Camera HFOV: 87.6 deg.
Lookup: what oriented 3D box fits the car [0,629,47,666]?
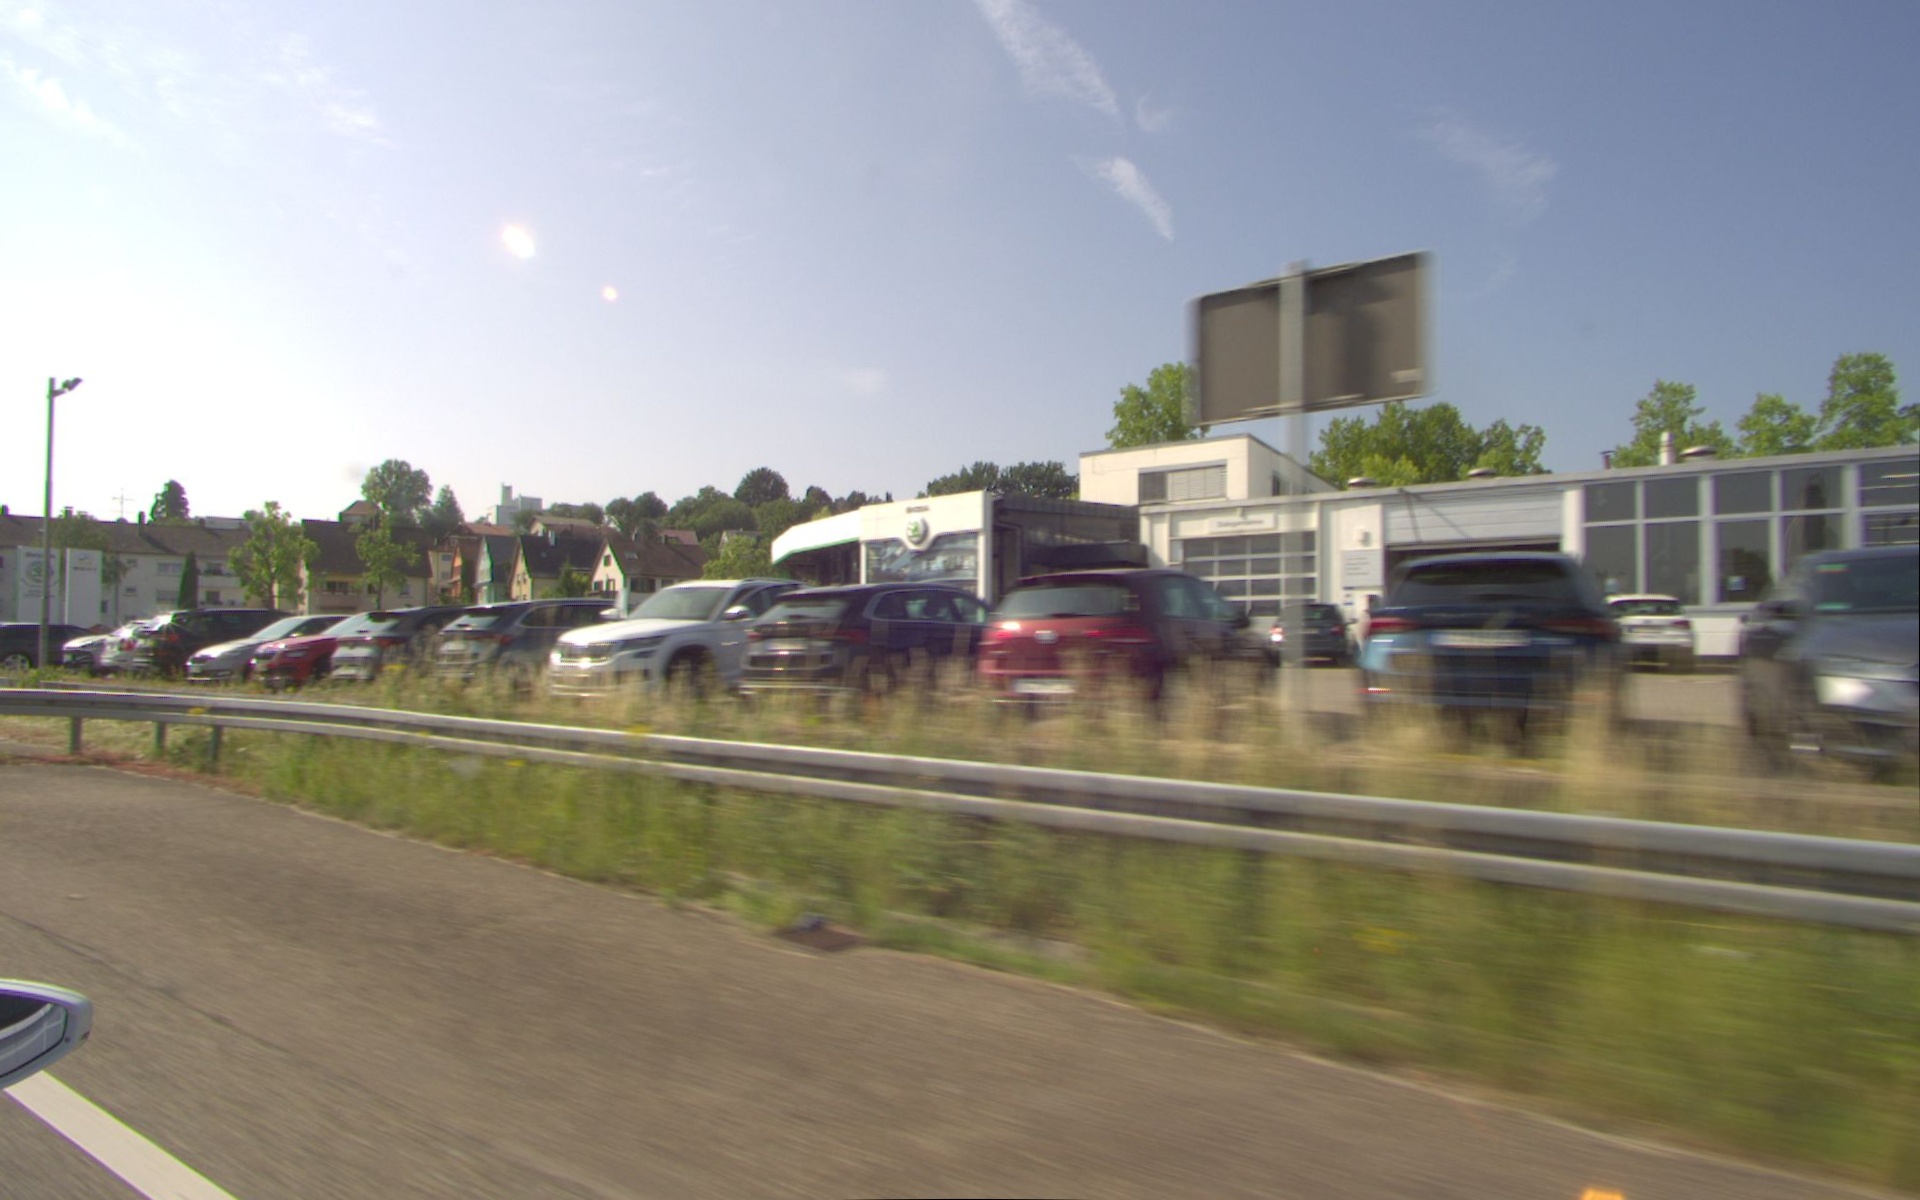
[{"bbox_3d":[-40.319,1.959,40.944,1.797,1.535,4.090,-1,-2,28],"label":"car"}]

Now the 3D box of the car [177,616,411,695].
[{"bbox_3d":[-13.724,1.085,20.840,1.642,1.477,3.723,-2,-1,33],"label":"car"}]

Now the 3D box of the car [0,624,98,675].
[{"bbox_3d":[-31.022,1.601,32.646,1.764,1.630,4.076,-1,-2,27],"label":"car"}]

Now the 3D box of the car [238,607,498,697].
[{"bbox_3d":[-11.494,0.947,19.706,1.757,1.572,4.073,-2,-1,33],"label":"car"}]

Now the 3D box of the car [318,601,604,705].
[{"bbox_3d":[-7.967,0.815,16.292,1.722,1.477,3.829,-2,-2,34],"label":"car"}]

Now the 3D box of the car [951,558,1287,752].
[{"bbox_3d":[1.676,0.469,9.421,1.797,1.424,3.724,-2,-2,32],"label":"car"}]

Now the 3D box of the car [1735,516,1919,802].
[{"bbox_3d":[6.496,0.328,6.495,1.923,1.470,3.979,-2,-2,32],"label":"car"}]

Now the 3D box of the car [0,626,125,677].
[{"bbox_3d":[-28.978,1.585,31.374,1.764,1.513,3.983,-1,-2,30],"label":"car"}]

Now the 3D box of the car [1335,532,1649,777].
[{"bbox_3d":[4.317,0.383,7.973,1.754,1.446,3.726,-2,-2,32],"label":"car"}]

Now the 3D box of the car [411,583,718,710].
[{"bbox_3d":[-5.819,0.667,15.153,1.895,1.653,3.977,-2,-2,34],"label":"car"}]

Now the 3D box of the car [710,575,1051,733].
[{"bbox_3d":[-0.718,0.574,11.534,1.923,1.470,3.979,-2,-2,32],"label":"car"}]

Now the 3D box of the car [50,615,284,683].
[{"bbox_3d":[-20.605,1.215,26.240,1.827,1.621,4.443,-1,-1,29],"label":"car"}]

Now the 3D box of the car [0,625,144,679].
[{"bbox_3d":[-26.886,1.504,29.585,1.705,1.513,3.980,-1,-2,32],"label":"car"}]

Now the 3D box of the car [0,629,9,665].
[{"bbox_3d":[-42.873,2.013,41.881,1.795,1.535,4.157,-1,-1,24],"label":"car"}]

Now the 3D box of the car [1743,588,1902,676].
[{"bbox_3d":[16.349,0.575,19.201,1.766,1.483,4.299,-2,-1,34],"label":"car"}]

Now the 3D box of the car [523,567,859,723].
[{"bbox_3d":[-3.252,0.544,12.838,1.893,1.653,3.981,-1,-2,31],"label":"car"}]

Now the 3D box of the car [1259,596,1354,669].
[{"bbox_3d":[8.385,0.744,24.017,1.761,1.585,4.311,-1,-1,24],"label":"car"}]

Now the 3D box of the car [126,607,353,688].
[{"bbox_3d":[-16.345,1.028,22.865,1.817,1.685,3.865,-2,-1,37],"label":"car"}]

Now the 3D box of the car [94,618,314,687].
[{"bbox_3d":[-18.478,1.234,24.632,1.701,1.505,4.022,-2,-1,37],"label":"car"}]

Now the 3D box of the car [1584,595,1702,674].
[{"bbox_3d":[14.216,0.687,21.035,1.765,1.483,4.303,-2,-1,31],"label":"car"}]
